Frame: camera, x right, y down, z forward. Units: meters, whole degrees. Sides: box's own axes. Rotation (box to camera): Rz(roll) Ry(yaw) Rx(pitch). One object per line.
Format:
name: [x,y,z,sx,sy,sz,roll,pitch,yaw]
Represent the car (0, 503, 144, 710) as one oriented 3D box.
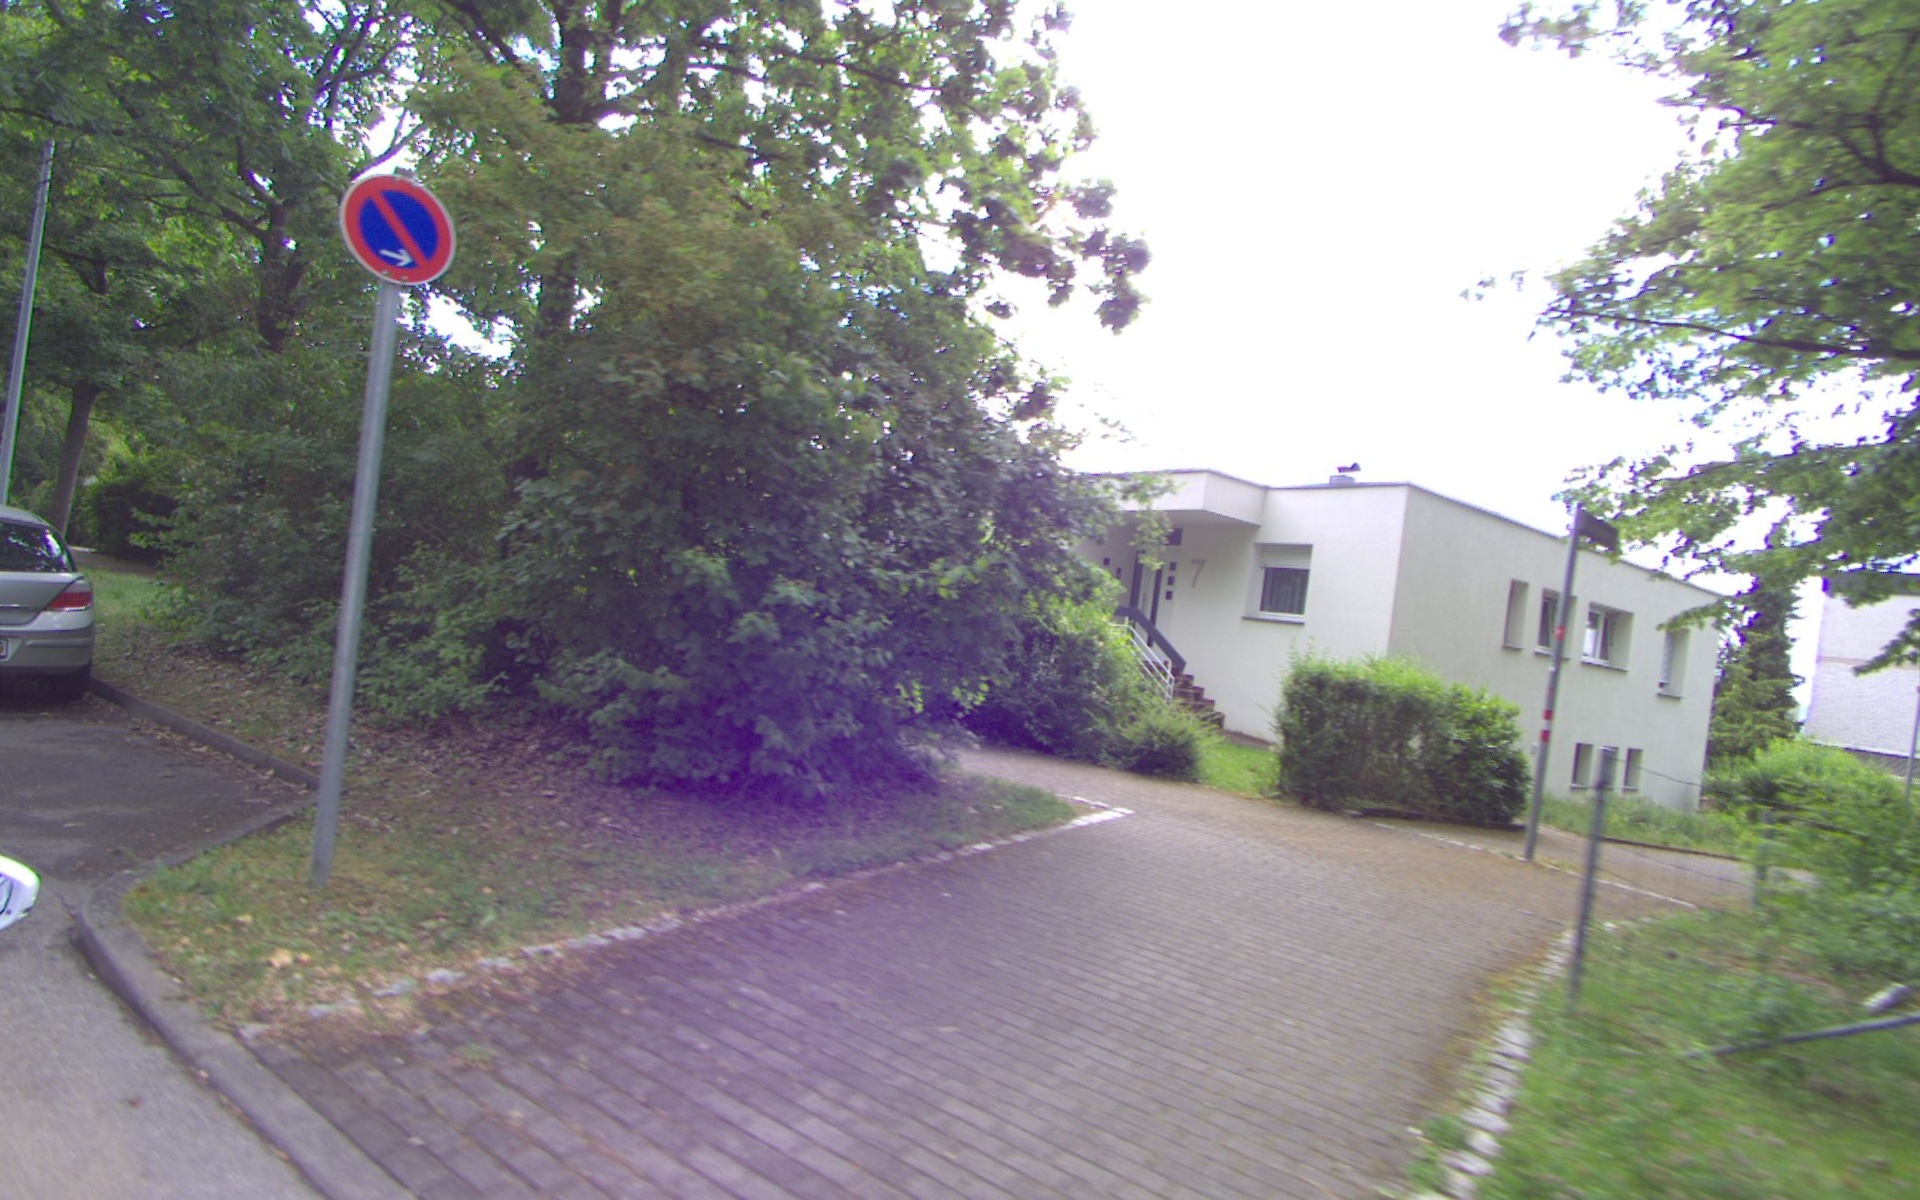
car: [-8.329,-0.136,7.999,3.996,1.428,1.793,6,-1,36]
